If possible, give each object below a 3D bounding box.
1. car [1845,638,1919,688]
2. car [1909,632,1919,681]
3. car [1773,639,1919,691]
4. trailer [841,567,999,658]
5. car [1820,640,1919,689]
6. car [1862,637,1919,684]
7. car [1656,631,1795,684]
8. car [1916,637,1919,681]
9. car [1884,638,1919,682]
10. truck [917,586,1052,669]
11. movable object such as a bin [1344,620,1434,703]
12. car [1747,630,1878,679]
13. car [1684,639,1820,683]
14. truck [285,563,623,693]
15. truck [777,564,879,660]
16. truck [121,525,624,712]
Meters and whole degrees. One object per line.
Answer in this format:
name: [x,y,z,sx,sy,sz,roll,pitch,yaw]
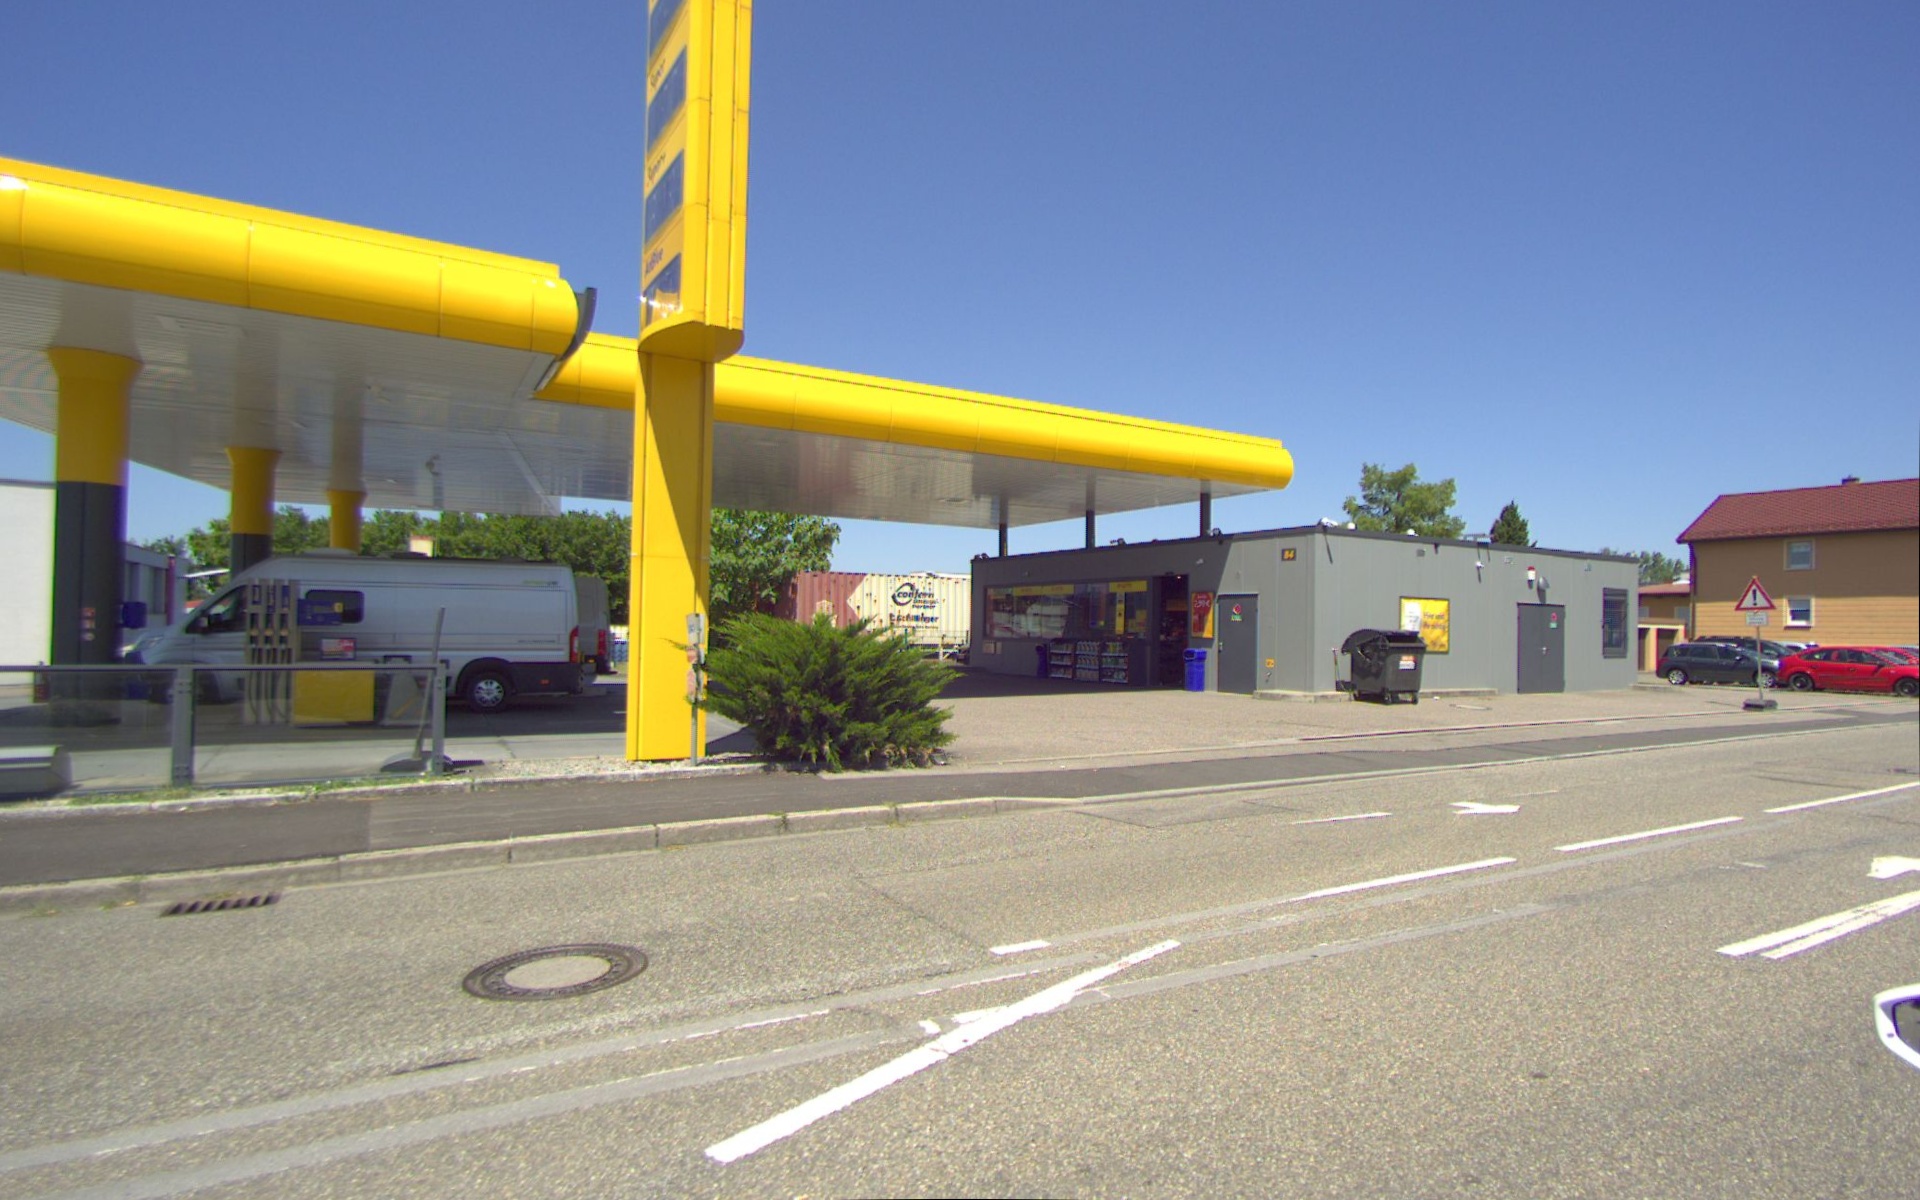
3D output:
car: [32.742,2.170,34.162,1.863,1.626,3.641,3,-2,-34]
car: [39.836,2.282,38.991,1.981,1.923,4.065,3,-2,-36]
car: [28.548,2.036,31.740,1.807,1.463,4.103,3,-2,-32]
trailer: [-1.460,0.548,38.398,5.848,3.262,1.855,2,-1,-32]
car: [30.699,2.101,32.797,1.873,1.476,3.641,3,-2,-34]
car: [34.502,2.182,35.436,1.903,1.601,3.641,3,-2,-34]
car: [27.859,2.063,36.629,1.873,1.732,3.641,3,-2,-34]
car: [38.281,2.284,37.342,1.903,1.694,3.641,3,-2,-34]
car: [36.281,2.239,36.526,1.903,1.552,3.641,3,-2,-34]
truck: [0.927,1.220,45.837,2.132,3.471,7.826,3,-2,-32]
movable object such as a bin: [8.646,1.219,20.246,1.412,1.538,0.947,1,3,-31]
car: [34.026,2.160,40.179,1.903,1.799,3.641,3,-2,-34]
car: [29.765,2.268,37.830,1.873,1.476,3.641,3,-2,-34]
truck: [-11.466,0.701,23.541,6.492,2.632,2.918,2,-2,-16]
truck: [-4.758,0.459,36.317,3.154,3.285,1.836,1,-1,-32]
truck: [-9.151,0.414,16.512,6.640,2.632,2.227,3,-2,-25]
